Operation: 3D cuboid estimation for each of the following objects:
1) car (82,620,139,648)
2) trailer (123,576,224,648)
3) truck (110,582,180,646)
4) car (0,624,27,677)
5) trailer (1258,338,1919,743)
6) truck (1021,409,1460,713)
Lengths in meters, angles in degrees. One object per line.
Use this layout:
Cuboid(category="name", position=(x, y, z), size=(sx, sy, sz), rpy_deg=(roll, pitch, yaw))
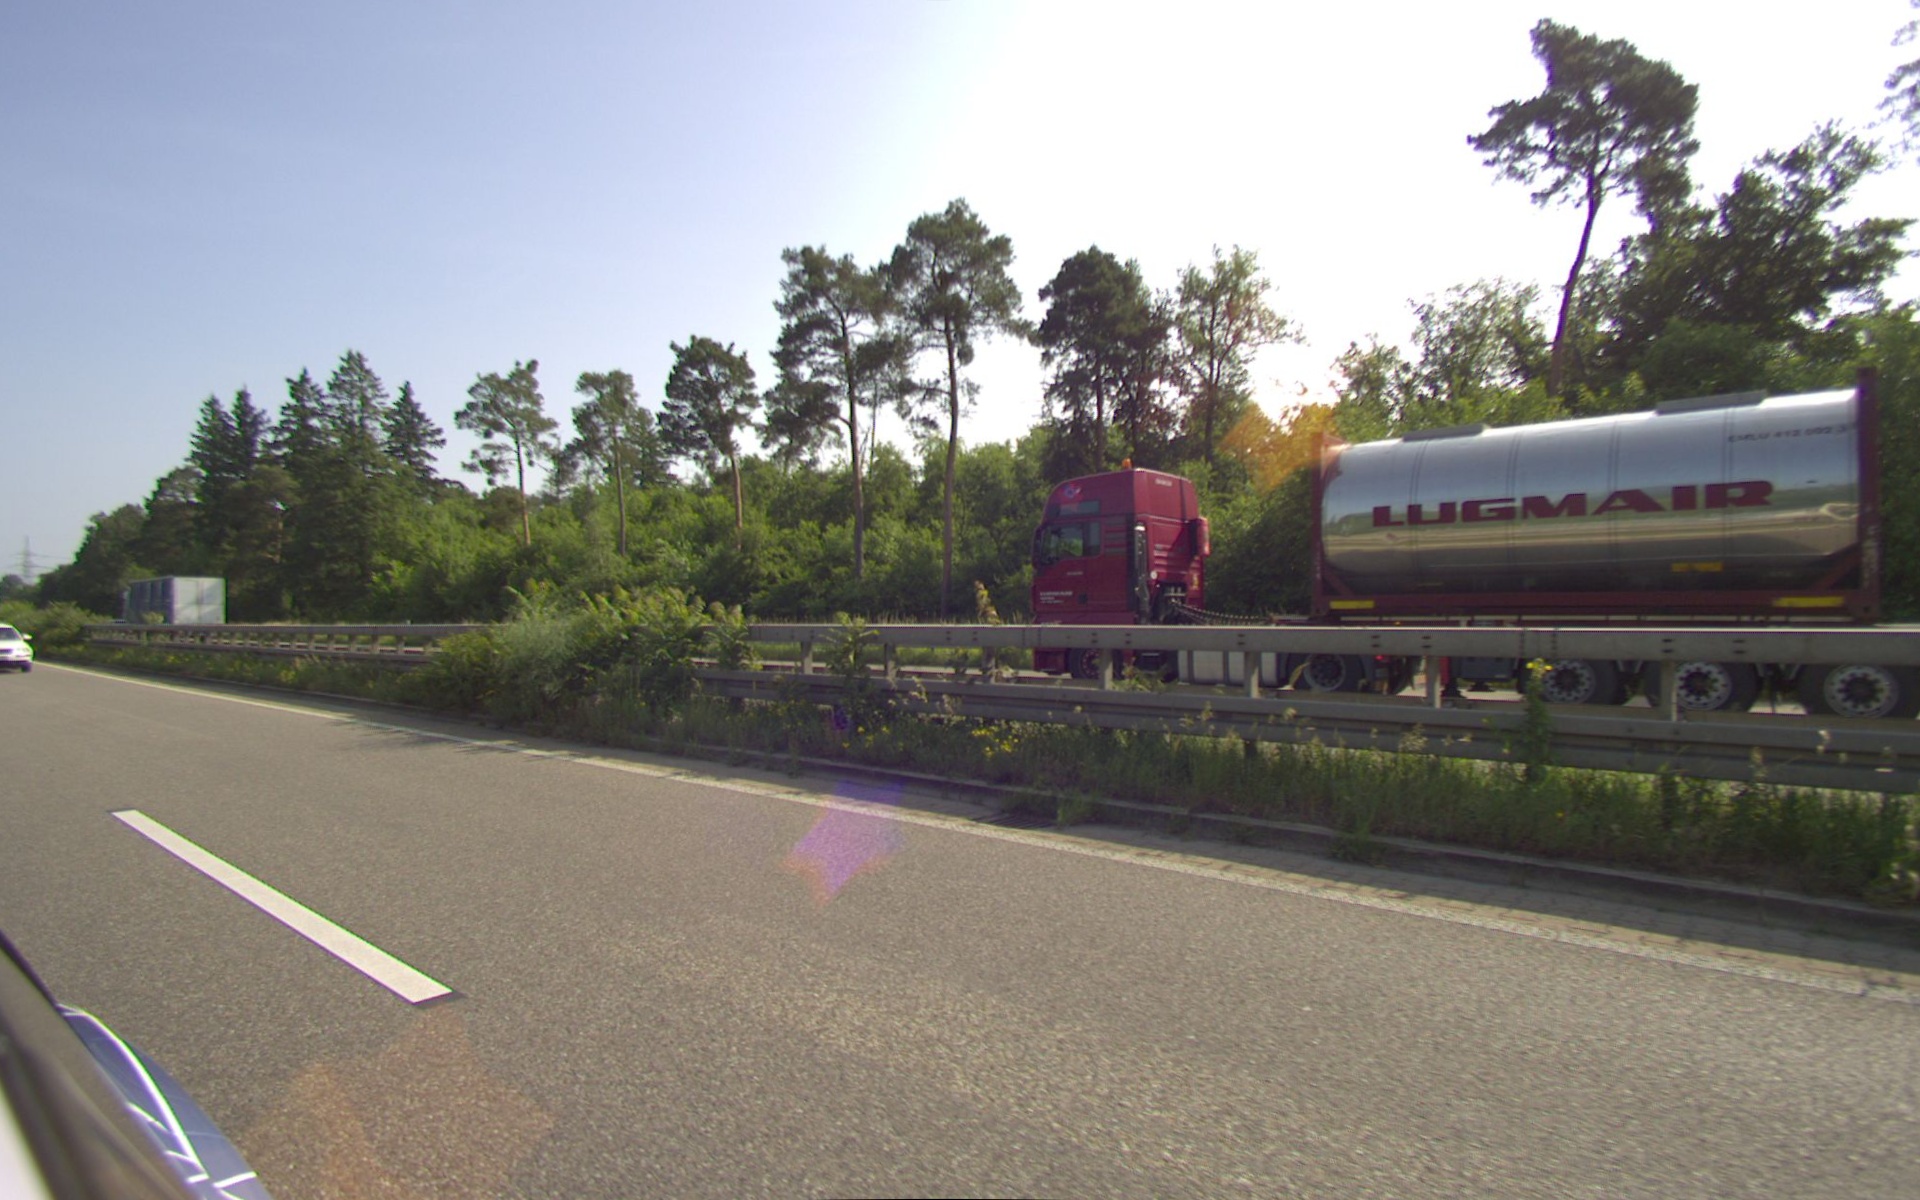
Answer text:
Cuboid(category="car", position=(-47.887, 1.908, 57.018), size=(4.578, 1.460, 1.687), rpy_deg=(-2, 0, 40))
Cuboid(category="trailer", position=(-50.310, 0.834, 64.513), size=(13.074, 4.232, 2.663), rpy_deg=(-2, -2, 41))
Cuboid(category="truck", position=(-56.063, 0.991, 69.587), size=(6.290, 4.232, 2.681), rpy_deg=(-2, -2, 41))
Cuboid(category="car", position=(-29.633, 1.490, 30.596), size=(5.264, 1.497, 1.730), rpy_deg=(-1, -1, 43))
Cuboid(category="trailer", position=(8.581, -0.585, 13.274), size=(8.369, 4.070, 3.261), rpy_deg=(-1, 0, 41))
Cuboid(category="truck", position=(4.488, -0.505, 16.804), size=(6.228, 4.069, 3.234), rpy_deg=(-1, 0, 40))
